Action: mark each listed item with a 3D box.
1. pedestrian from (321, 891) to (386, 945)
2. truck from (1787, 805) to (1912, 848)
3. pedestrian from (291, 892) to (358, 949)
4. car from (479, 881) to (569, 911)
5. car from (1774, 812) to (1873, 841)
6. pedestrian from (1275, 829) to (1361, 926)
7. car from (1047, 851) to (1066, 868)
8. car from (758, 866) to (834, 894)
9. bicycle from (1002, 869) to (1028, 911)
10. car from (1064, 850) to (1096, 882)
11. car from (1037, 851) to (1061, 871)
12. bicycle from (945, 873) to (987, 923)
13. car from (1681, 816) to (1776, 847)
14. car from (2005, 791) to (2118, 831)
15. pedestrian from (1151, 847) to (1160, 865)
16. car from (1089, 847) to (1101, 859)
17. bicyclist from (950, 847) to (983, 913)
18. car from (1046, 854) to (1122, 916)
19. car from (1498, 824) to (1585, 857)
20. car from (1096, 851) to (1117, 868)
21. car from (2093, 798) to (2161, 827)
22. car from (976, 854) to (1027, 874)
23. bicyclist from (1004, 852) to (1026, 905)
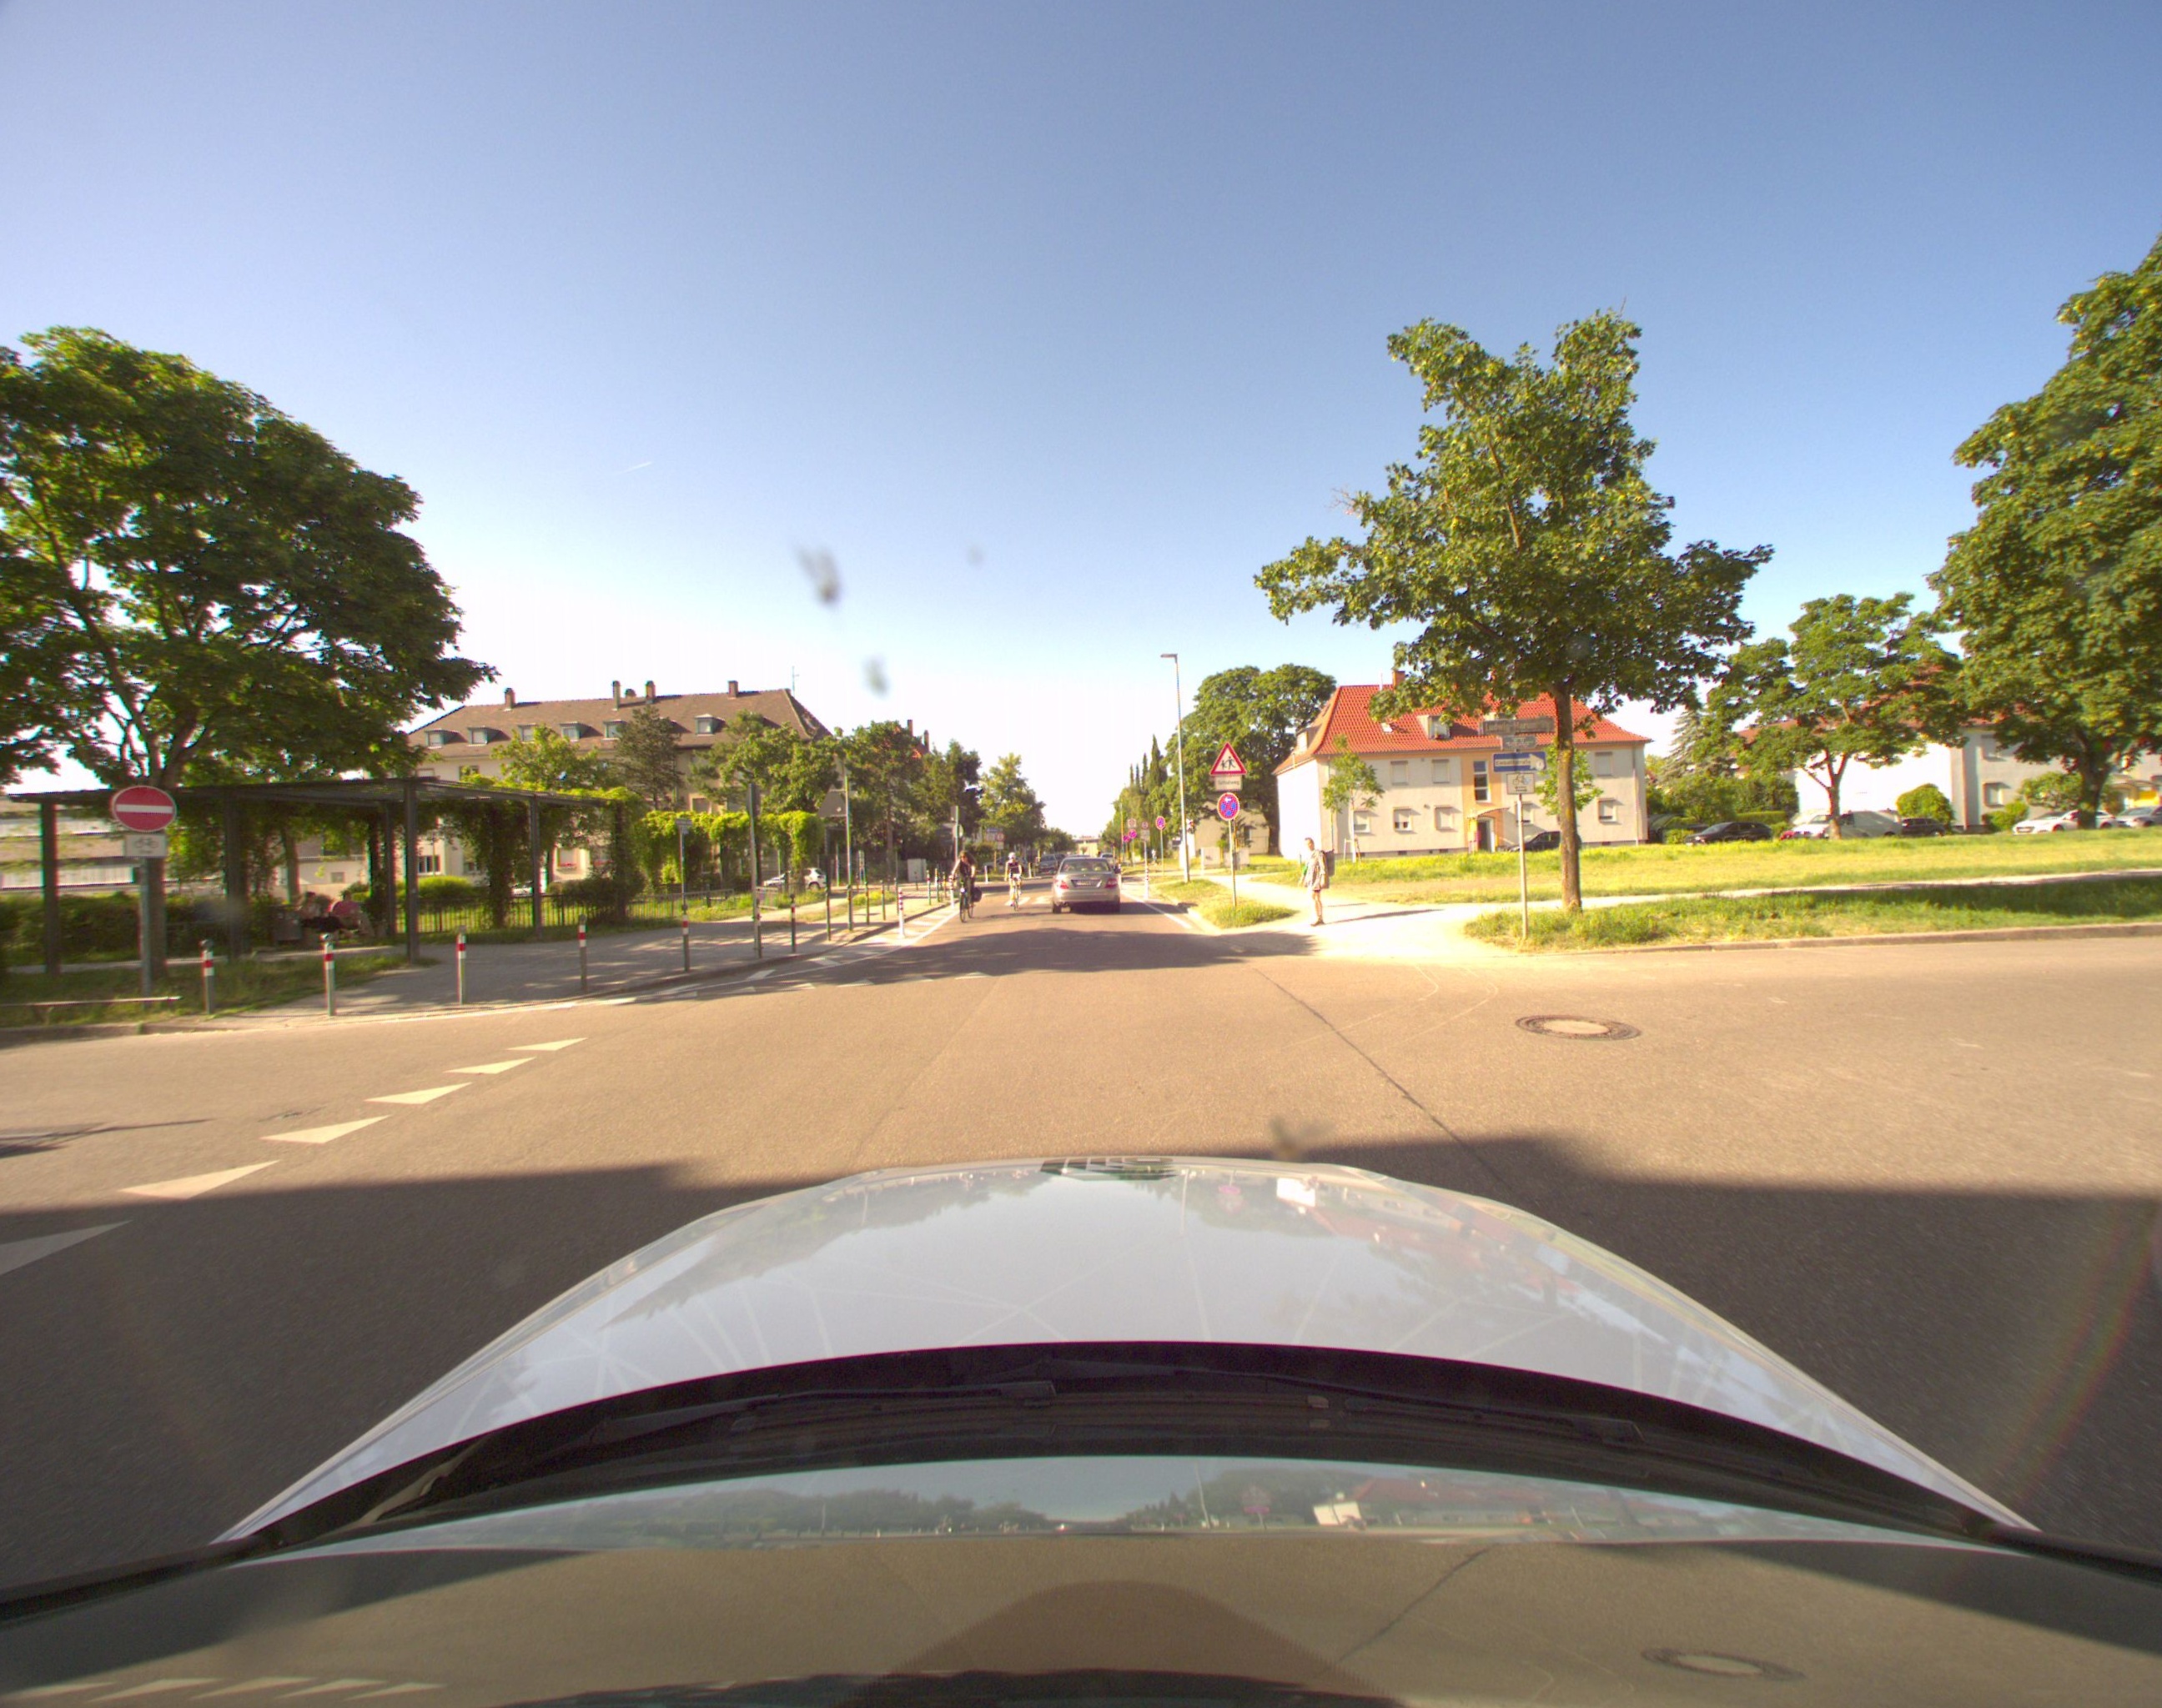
[{"bbox_3d":[-16.454,1.442,18.439,0.869,1.138,0.599,-3,0,1],"label":"pedestrian"},{"bbox_3d":[41.471,-1.461,44.045,4.842,2.036,2.000,-3,0,0],"label":"truck"},{"bbox_3d":[-16.490,1.448,17.758,0.840,1.149,0.599,-3,0,1],"label":"pedestrian"},{"bbox_3d":[-32.439,2.418,47.502,3.973,1.494,1.801,-3,-1,0],"label":"car"},{"bbox_3d":[42.977,-1.563,47.210,4.112,1.441,1.722,-3,0,1],"label":"car"},{"bbox_3d":[4.522,0.439,15.582,1.089,1.673,0.908,-8,1,-16],"label":"pedestrian"},{"bbox_3d":[-2.764,0.605,92.879,1.988,1.609,3.998,-6,0,-1],"label":"car"},{"bbox_3d":[-16.587,1.500,47.531,3.752,1.398,1.706,-3,-1,0],"label":"car"},{"bbox_3d":[-1.861,0.992,23.122,0.503,1.089,1.710,-3,0,2],"label":"bicycle"},{"bbox_3d":[-0.085,0.618,44.278,1.593,1.609,3.642,-3,0,-1],"label":"car"},{"bbox_3d":[-2.960,0.648,75.069,1.988,1.609,3.998,-6,0,-1],"label":"car"},{"bbox_3d":[-2.879,1.089,20.635,0.640,1.108,2.066,-3,0,2],"label":"bicycle"},{"bbox_3d":[37.345,-1.287,47.029,4.112,1.583,1.722,-3,0,1],"label":"car"},{"bbox_3d":[56.864,-2.458,47.279,4.227,2.013,1.872,-3,0,0],"label":"car"},{"bbox_3d":[7.025,0.178,76.769,0.762,1.611,0.835,-3,0,5],"label":"pedestrian"},{"bbox_3d":[2.293,-0.162,133.303,1.849,1.841,4.000,-3,0,0],"label":"car"},{"bbox_3d":[-2.899,0.644,20.659,0.640,1.619,0.637,-3,0,1],"label":"bicyclist"},{"bbox_3d":[0.133,0.770,21.980,1.829,1.441,4.002,-2,0,2],"label":"car"},{"bbox_3d":[26.587,-0.770,47.104,4.037,1.664,1.722,-3,0,1],"label":"car"},{"bbox_3d":[2.383,0.462,77.316,1.728,1.479,3.723,-3,0,-1],"label":"car"},{"bbox_3d":[61.656,-2.433,47.230,3.783,1.498,1.722,-3,0,1],"label":"car"},{"bbox_3d":[-6.799,0.823,69.803,4.182,1.564,1.840,-2,0,-3],"label":"car"},{"bbox_3d":[-1.875,0.678,23.160,0.494,1.464,0.688,-3,0,2],"label":"bicyclist"}]
